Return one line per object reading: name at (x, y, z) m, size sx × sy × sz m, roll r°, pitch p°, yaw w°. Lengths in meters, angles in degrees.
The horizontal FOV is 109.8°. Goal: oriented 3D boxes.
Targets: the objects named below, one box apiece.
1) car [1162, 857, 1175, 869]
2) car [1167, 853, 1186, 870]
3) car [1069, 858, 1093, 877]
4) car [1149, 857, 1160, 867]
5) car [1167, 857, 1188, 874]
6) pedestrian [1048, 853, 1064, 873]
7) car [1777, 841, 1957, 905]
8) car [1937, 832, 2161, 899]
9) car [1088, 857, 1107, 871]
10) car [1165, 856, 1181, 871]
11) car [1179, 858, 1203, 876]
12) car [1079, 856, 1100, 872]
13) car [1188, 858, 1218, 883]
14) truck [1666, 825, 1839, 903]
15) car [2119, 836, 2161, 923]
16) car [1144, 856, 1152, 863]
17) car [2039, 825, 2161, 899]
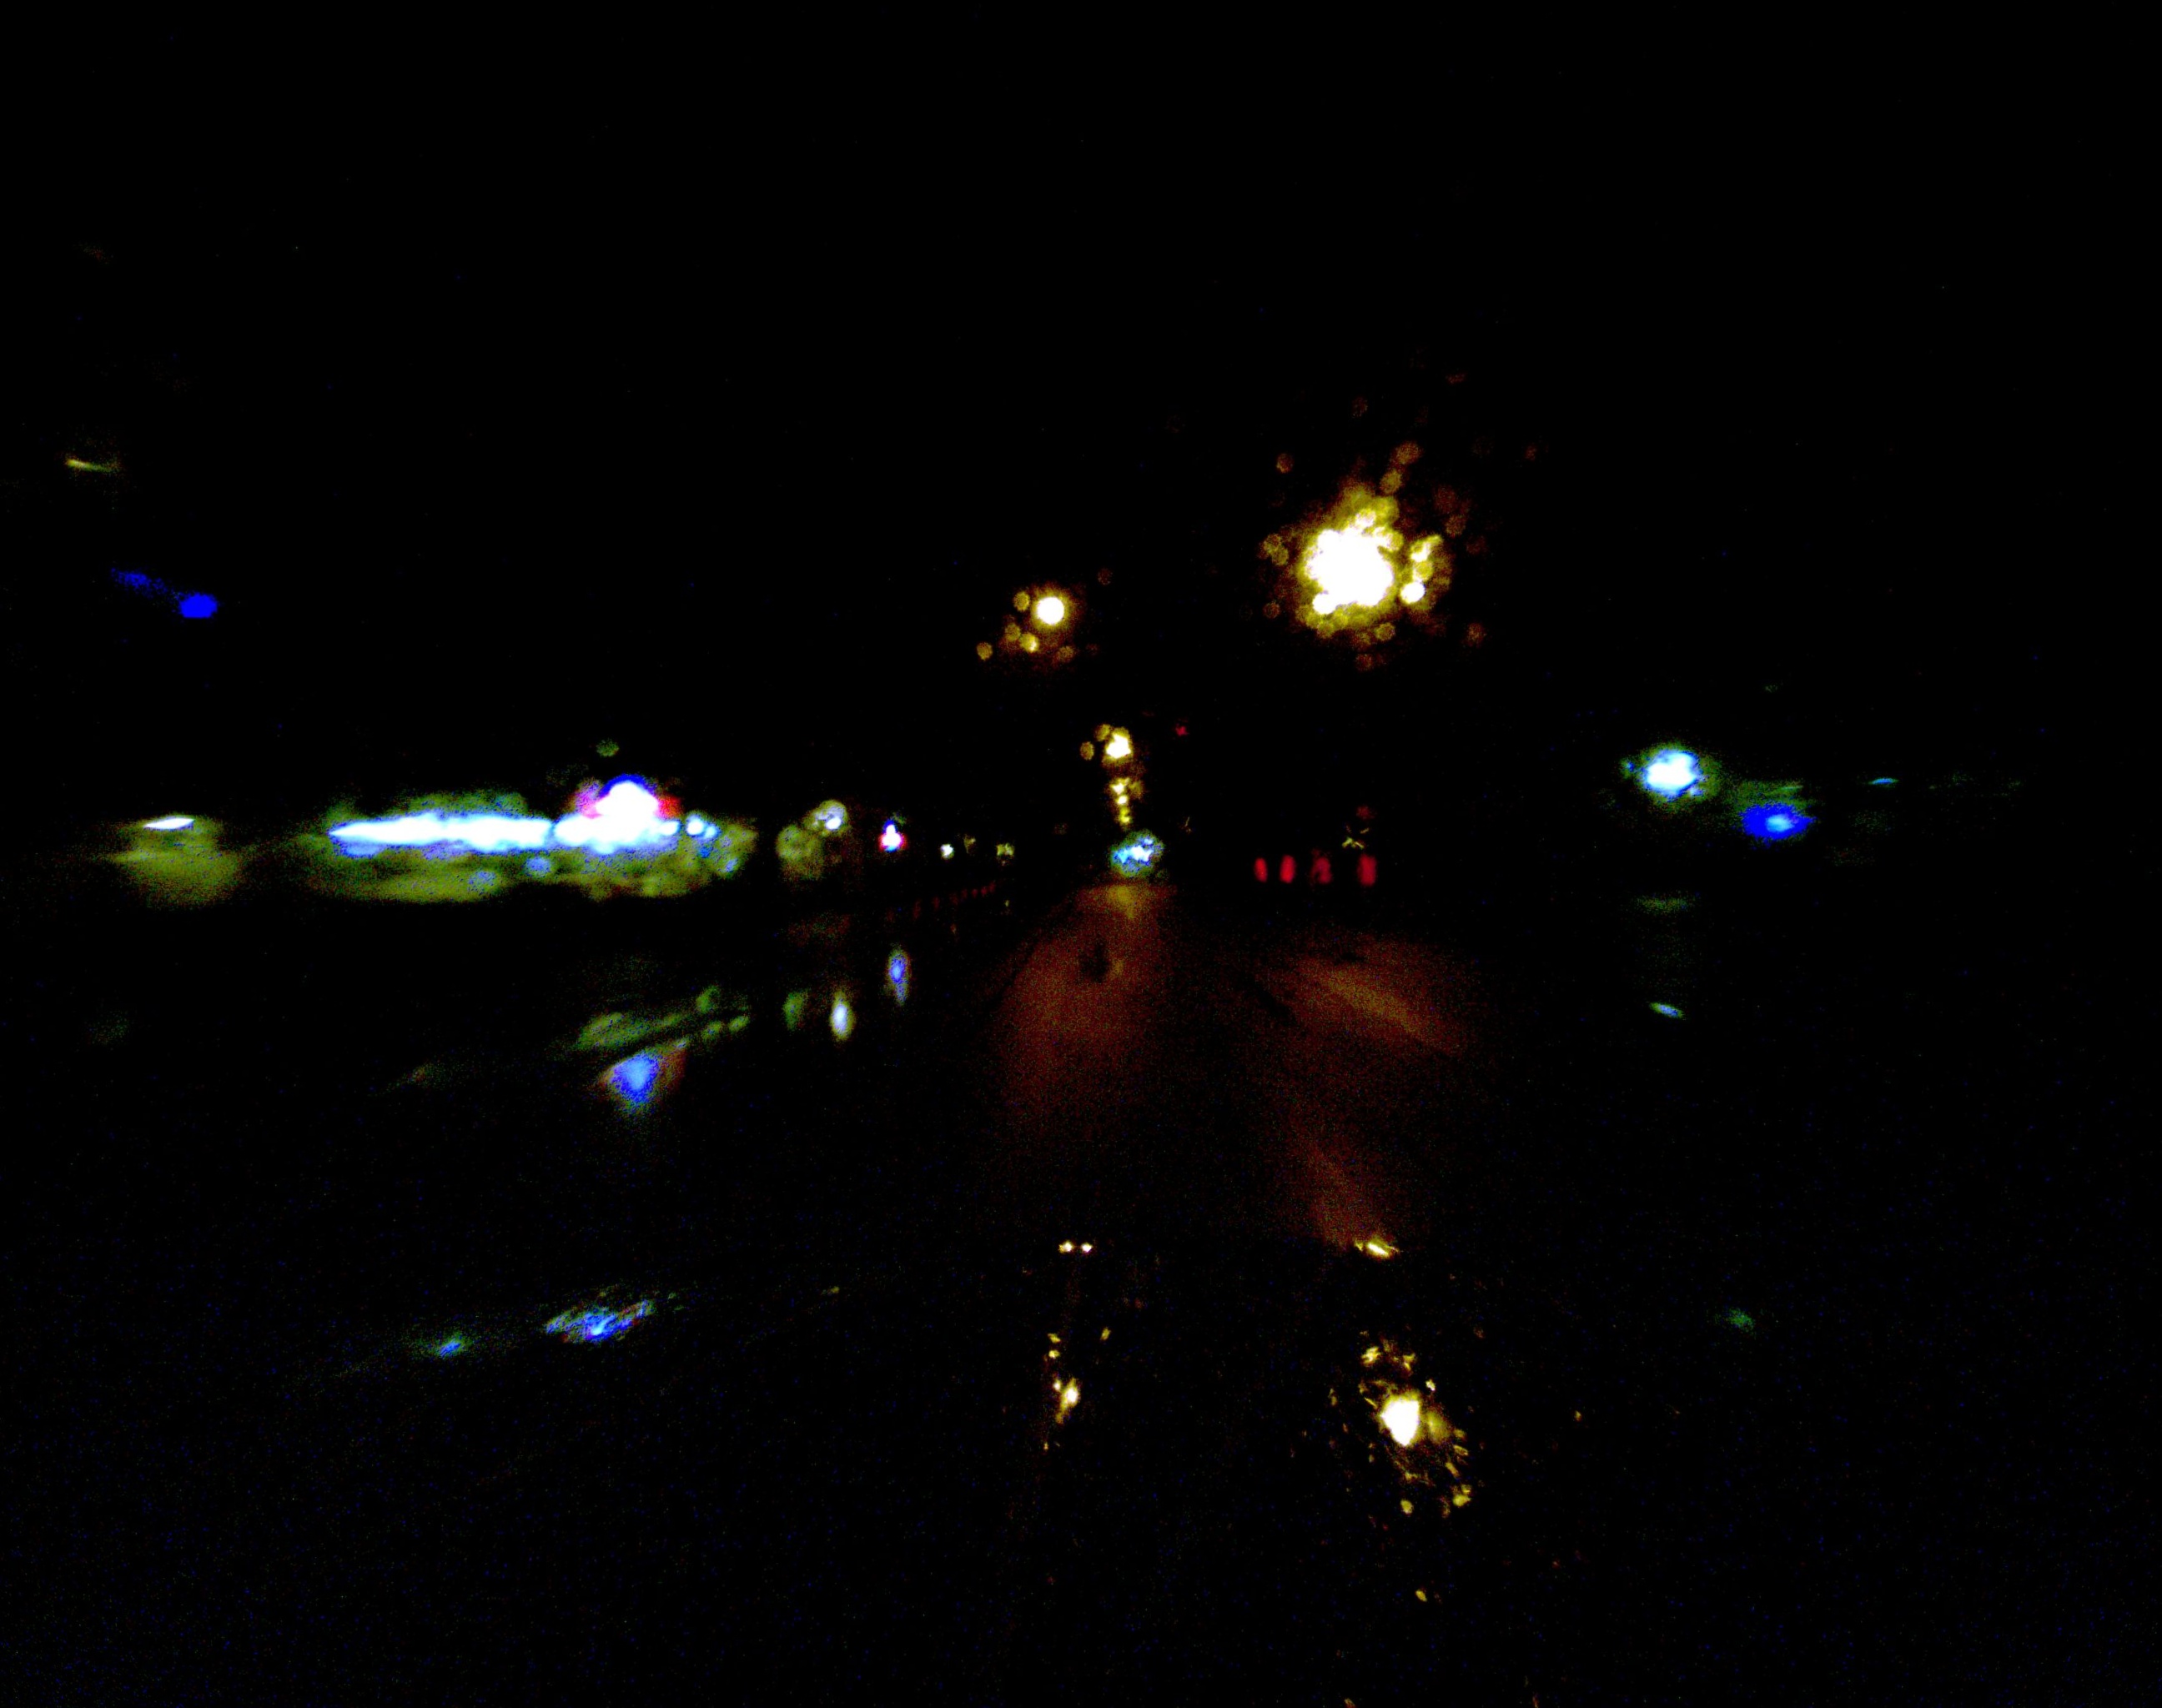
car at (10.625, 1.048, 92.268) m, size 1.434 × 1.452 × 3.375 m, roll 1°, pitch 0°, yaw 5°
car at (9.105, 0.682, 72.794) m, size 1.601 × 1.596 × 4.259 m, roll 1°, pitch 0°, yaw 4°
car at (0.034, 1.078, 64.483) m, size 1.826 × 1.521 × 4.784 m, roll -1°, pitch 0°, yaw 3°
car at (11.702, 1.270, 121.763) m, size 1.669 × 1.531 × 4.392 m, roll -1°, pitch 0°, yaw 5°
car at (8.584, 0.996, 67.681) m, size 1.601 × 1.478 × 4.276 m, roll 1°, pitch 0°, yaw 4°
pedestrian at (-1.974, 0.698, 59.546) m, size 1.052 × 1.566 × 1.019 m, roll -2°, pitch 0°, yaw 8°
car at (22.100, 0.484, 21.648) m, size 1.866 × 1.603 × 4.501 m, roll -2°, pitch 0°, yaw 22°
car at (25.282, 0.264, 19.961) m, size 1.866 × 1.531 × 4.501 m, roll -2°, pitch 0°, yaw 22°
car at (1.961, 1.186, 90.292) m, size 1.828 × 1.539 × 4.354 m, roll -1°, pitch 0°, yaw 6°
car at (10.570, 1.077, 87.364) m, size 1.477 × 1.610 × 3.374 m, roll 6°, pitch 0°, yaw 2°
car at (8.912, 1.017, 61.763) m, size 1.601 × 1.365 × 4.068 m, roll -2°, pitch 0°, yaw 4°
car at (0.813, 0.923, 70.966) m, size 1.826 × 1.413 × 4.489 m, roll -1°, pitch 0°, yaw 3°
car at (8.192, 1.106, 51.488) m, size 1.601 × 1.555 × 4.381 m, roll 1°, pitch 0°, yaw 4°
truck at (19.632, 0.289, 22.575) m, size 2.125 × 2.001 × 5.271 m, roll -2°, pitch -1°, yaw 22°
car at (18.259, 0.417, 11.193) m, size 1.715 × 1.423 × 3.925 m, roll -2°, pitch 0°, yaw 23°
car at (13.893, 1.134, 157.903) m, size 1.627 × 1.464 × 3.964 m, roll -1°, pitch 0°, yaw 5°
car at (27.638, 0.153, 19.446) m, size 1.866 × 1.784 × 4.501 m, roll -2°, pitch 0°, yaw 22°
